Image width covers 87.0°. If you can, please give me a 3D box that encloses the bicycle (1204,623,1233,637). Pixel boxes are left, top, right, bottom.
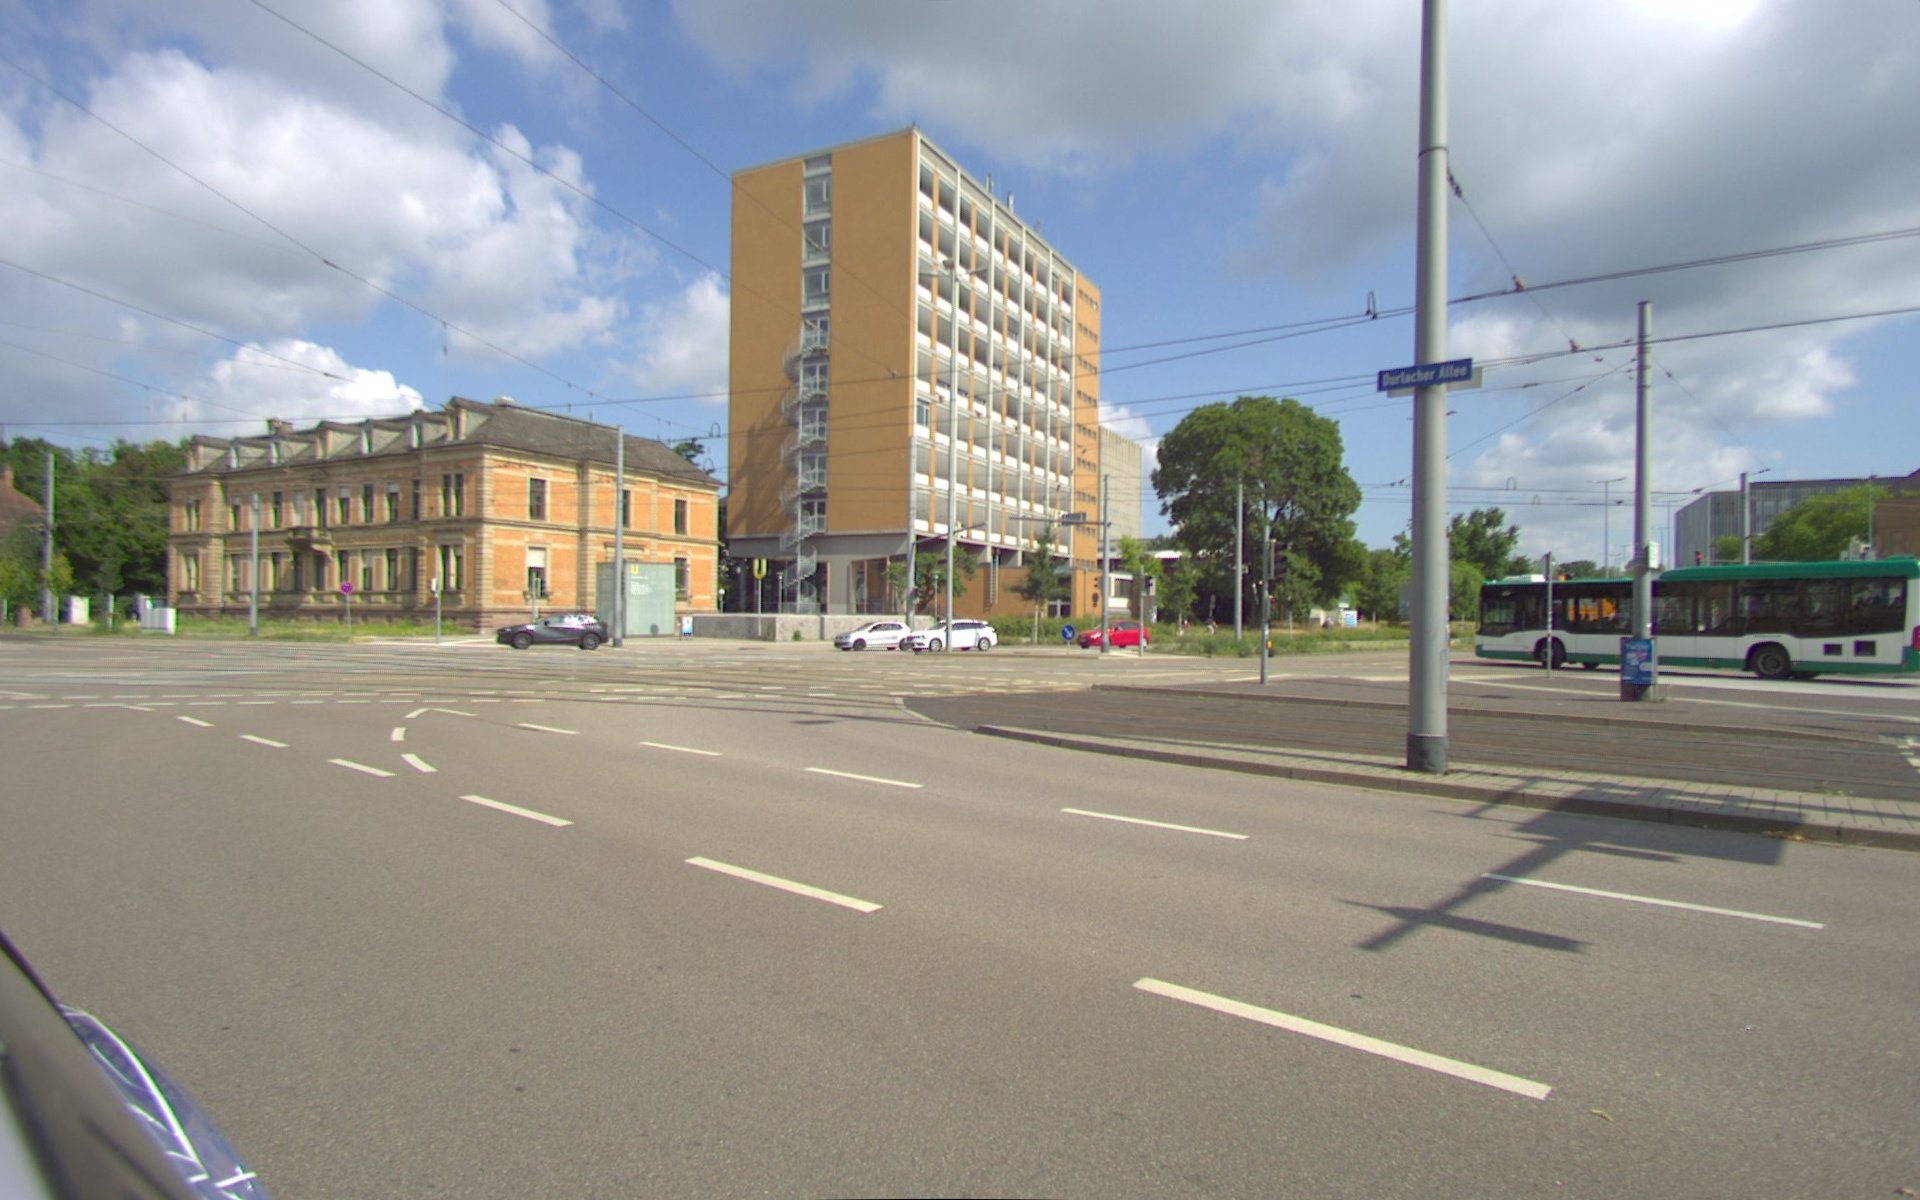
[{"bbox_3d":[17.321,2.013,67.809,1.778,0.881,0.764,1,1,-20],"label":"bicycle"}]

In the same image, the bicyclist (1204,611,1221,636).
[{"bbox_3d":[16.888,1.569,67.768,0.921,1.684,0.581,1,0,-20],"label":"bicyclist"}]

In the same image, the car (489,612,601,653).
[{"bbox_3d":[-16.959,1.318,41.385,4.139,1.588,1.652,0,-2,-27],"label":"car"}]

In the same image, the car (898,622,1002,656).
[{"bbox_3d":[-0.449,1.812,47.244,4.595,1.440,1.768,0,-2,-33],"label":"car"}]

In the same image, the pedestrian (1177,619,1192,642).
[{"bbox_3d":[15.455,2.100,69.741,0.947,1.590,0.766,0,-1,11],"label":"pedestrian"}]

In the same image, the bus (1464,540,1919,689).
[{"bbox_3d":[21.872,0.422,30.488,2.866,3.648,12.414,1,-1,-31],"label":"bus"}]

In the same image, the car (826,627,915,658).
[{"bbox_3d":[-4.284,2.042,48.836,4.011,1.396,1.592,0,-3,-36],"label":"car"}]

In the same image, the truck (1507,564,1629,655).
[{"bbox_3d":[29.389,0.508,48.794,7.947,4.039,2.841,1,-2,-42],"label":"truck"}]

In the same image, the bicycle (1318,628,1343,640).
[{"bbox_3d":[29.342,2.713,80.106,2.237,0.904,0.655,1,-1,-32],"label":"bicycle"}]

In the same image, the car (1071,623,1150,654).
[{"bbox_3d":[7.821,1.981,52.446,3.997,1.479,1.651,0,-3,-35],"label":"car"}]
